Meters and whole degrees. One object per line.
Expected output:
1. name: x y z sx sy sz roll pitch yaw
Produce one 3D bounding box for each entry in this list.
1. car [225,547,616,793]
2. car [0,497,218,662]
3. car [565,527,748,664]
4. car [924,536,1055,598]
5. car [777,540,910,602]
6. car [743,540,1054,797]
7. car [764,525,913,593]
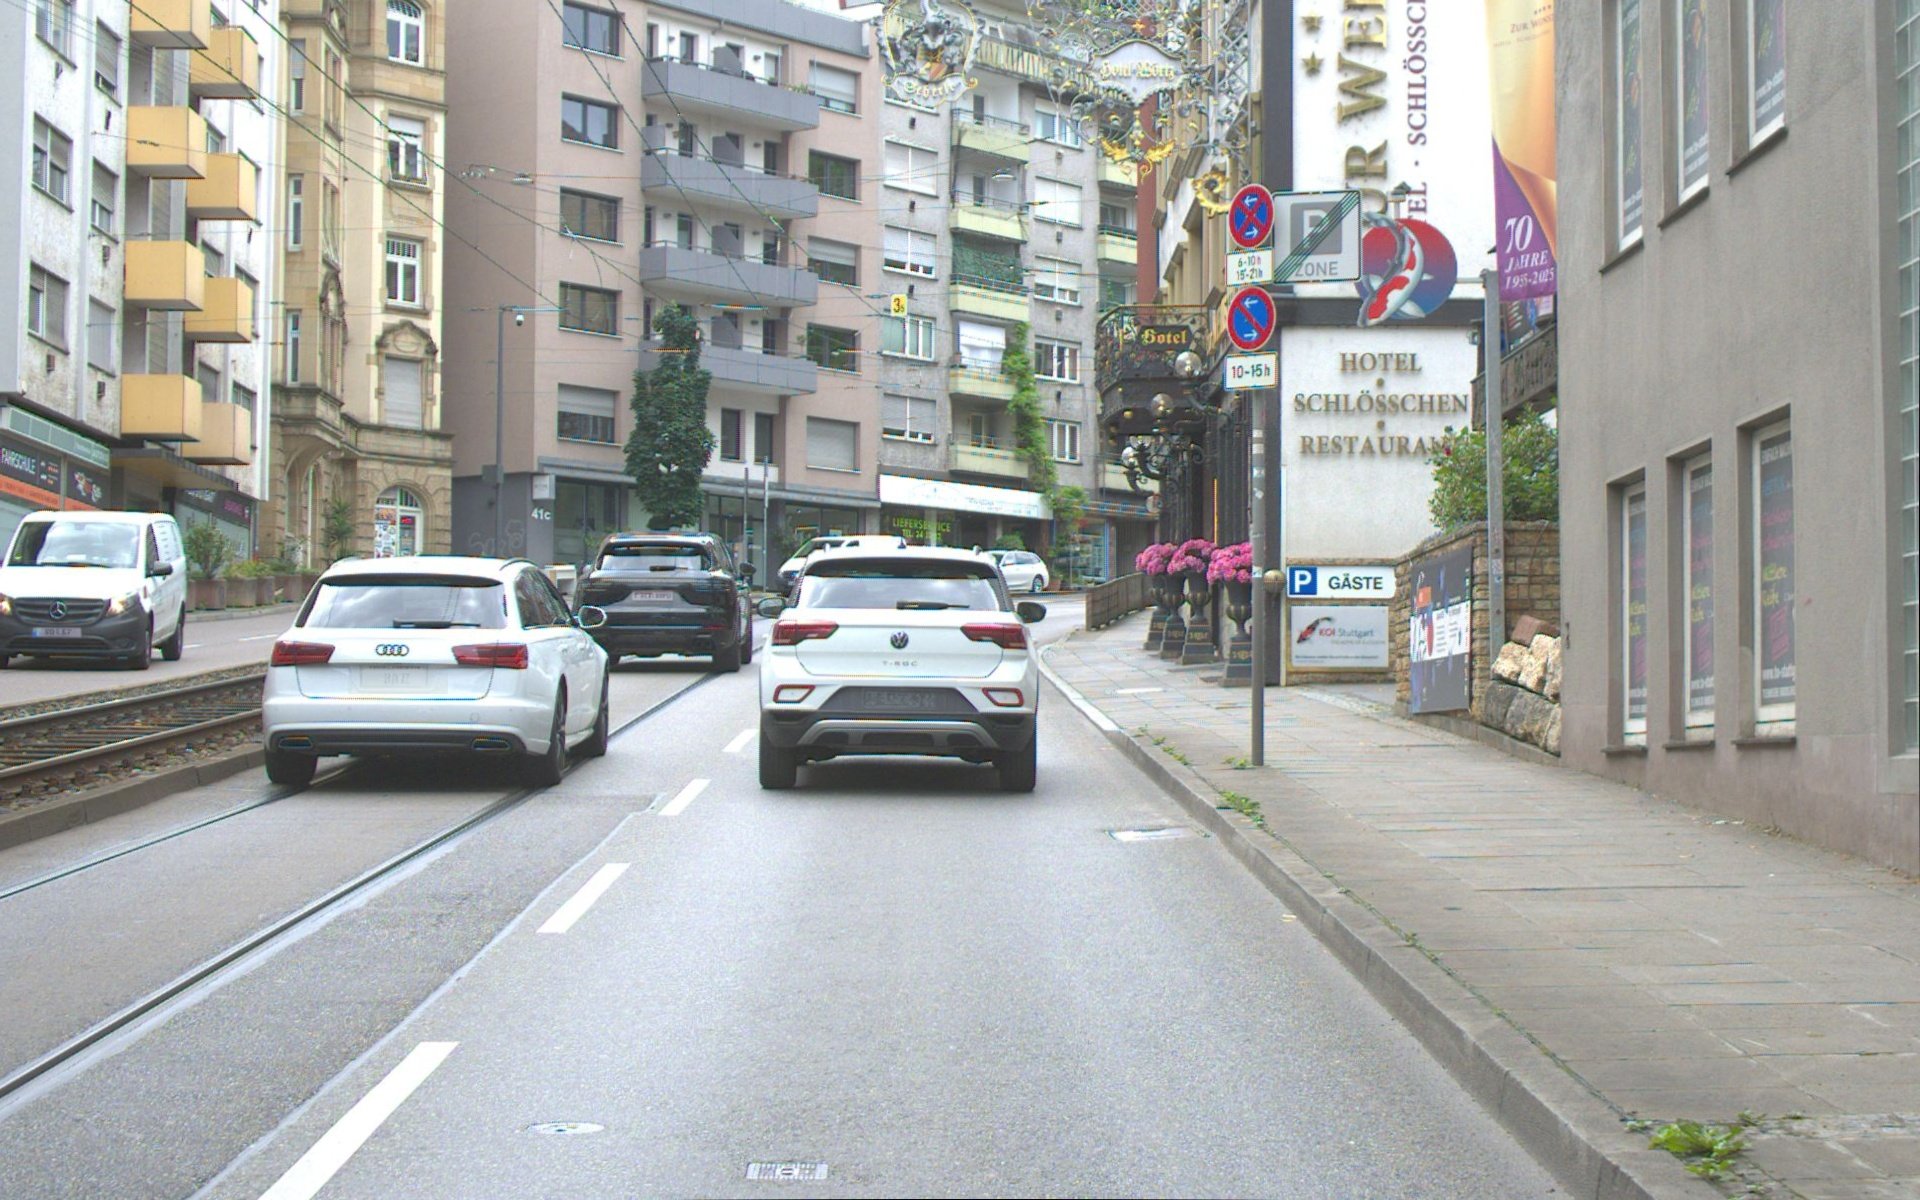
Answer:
1. car: -3.476 0.386 22.998 1.879 1.450 4.617 1 1 0
2. car: -10.608 -0.288 42.692 1.957 1.894 5.319 1 1 -4
3. car: -3.649 -0.099 42.013 2.037 1.566 4.359 1 1 -3
4. car: 0.970 -1.046 109.961 1.908 1.916 4.426 1 1 37
5. car: -3.340 -0.837 99.435 1.797 1.722 3.992 1 1 35
6. car: -0.393 0.386 23.031 1.879 1.549 4.000 1 1 0
7. car: -3.687 -1.256 105.378 1.998 2.028 4.691 1 1 38
